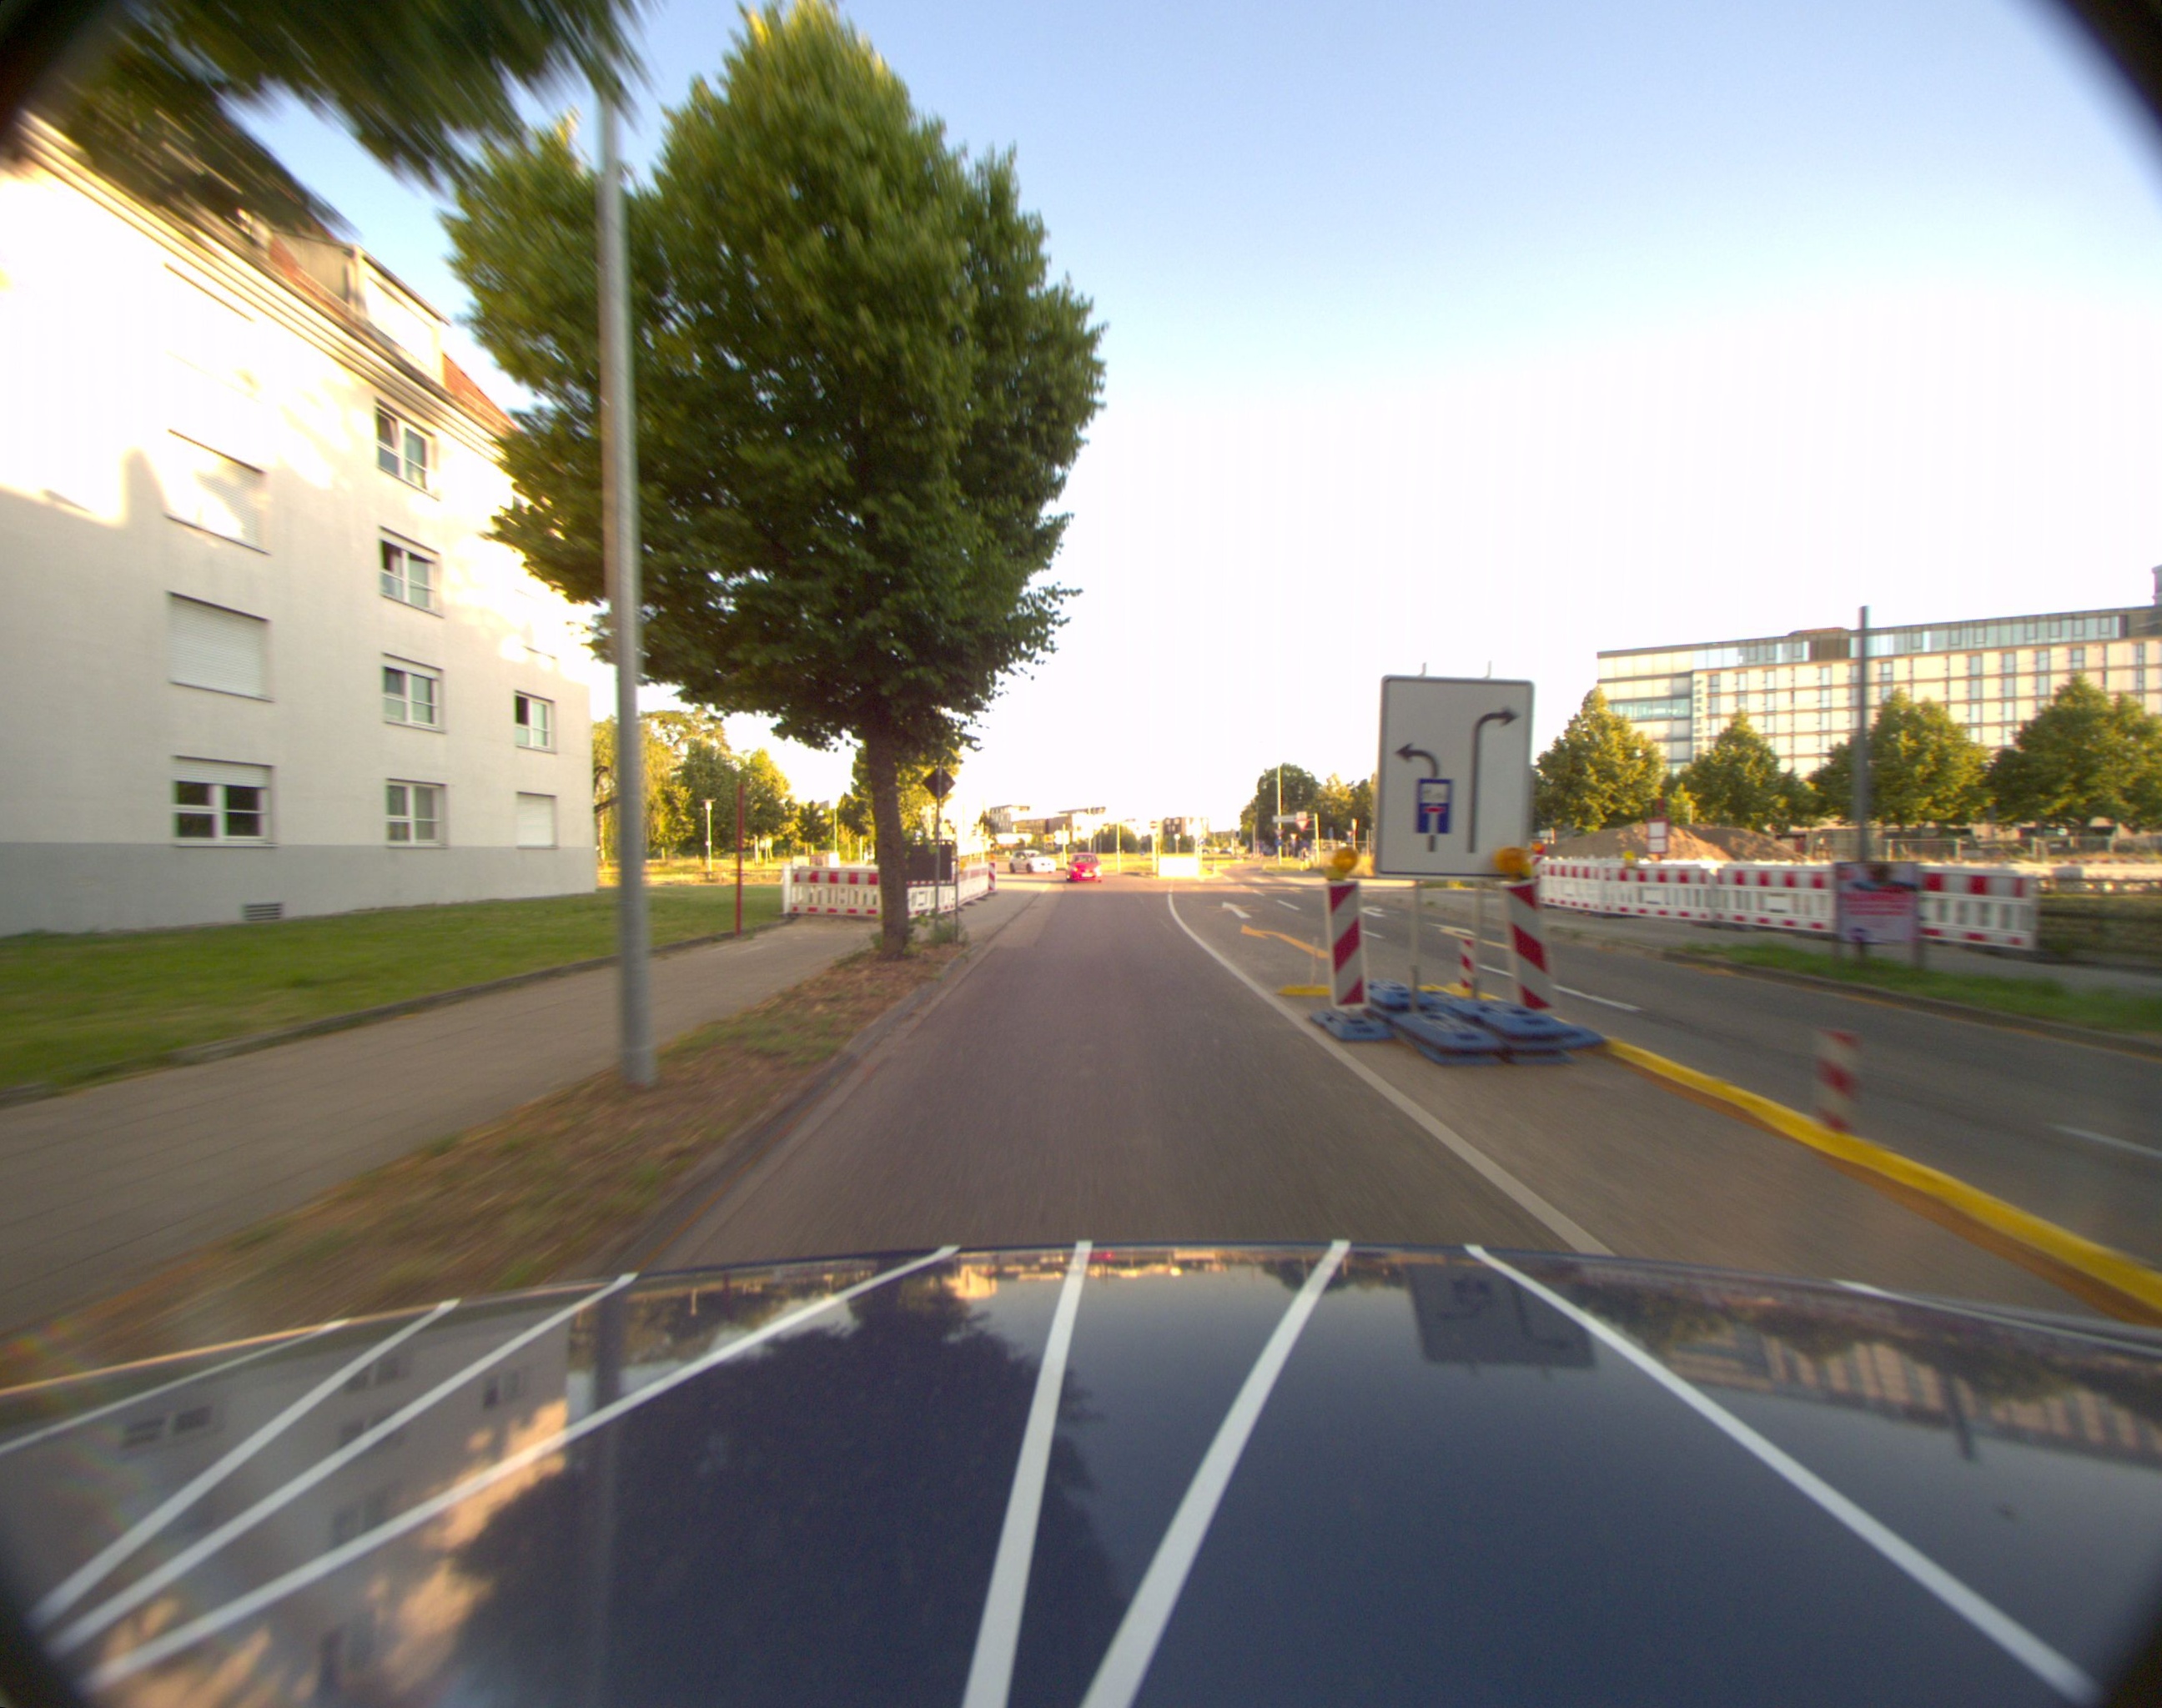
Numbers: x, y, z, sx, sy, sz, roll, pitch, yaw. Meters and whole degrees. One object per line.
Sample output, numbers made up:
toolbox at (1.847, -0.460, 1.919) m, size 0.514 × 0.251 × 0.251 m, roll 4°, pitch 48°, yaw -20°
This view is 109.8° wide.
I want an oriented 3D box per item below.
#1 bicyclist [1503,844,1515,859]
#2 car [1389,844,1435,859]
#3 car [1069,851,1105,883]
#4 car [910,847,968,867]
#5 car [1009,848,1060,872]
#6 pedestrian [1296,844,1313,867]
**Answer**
bicyclist at (42.844, -0.289, 76.029) m, size 0.700 × 1.483 × 0.974 m, roll 0°, pitch 2°, yaw 4°
car at (33.585, -0.227, 77.145) m, size 3.997 × 1.456 × 1.631 m, roll -1°, pitch 1°, yaw -2°
car at (0.251, 0.618, 38.225) m, size 1.619 × 1.405 × 4.408 m, roll -1°, pitch 2°, yaw -1°
car at (-11.927, 0.226, 63.822) m, size 4.400 × 1.548 × 1.793 m, roll -1°, pitch 2°, yaw 19°
car at (-3.326, 0.377, 53.779) m, size 1.794 × 1.548 × 4.398 m, roll -2°, pitch 2°, yaw -31°
pedestrian at (16.455, 0.096, 55.877) m, size 0.927 × 1.685 × 0.786 m, roll 1°, pitch 1°, yaw -11°
